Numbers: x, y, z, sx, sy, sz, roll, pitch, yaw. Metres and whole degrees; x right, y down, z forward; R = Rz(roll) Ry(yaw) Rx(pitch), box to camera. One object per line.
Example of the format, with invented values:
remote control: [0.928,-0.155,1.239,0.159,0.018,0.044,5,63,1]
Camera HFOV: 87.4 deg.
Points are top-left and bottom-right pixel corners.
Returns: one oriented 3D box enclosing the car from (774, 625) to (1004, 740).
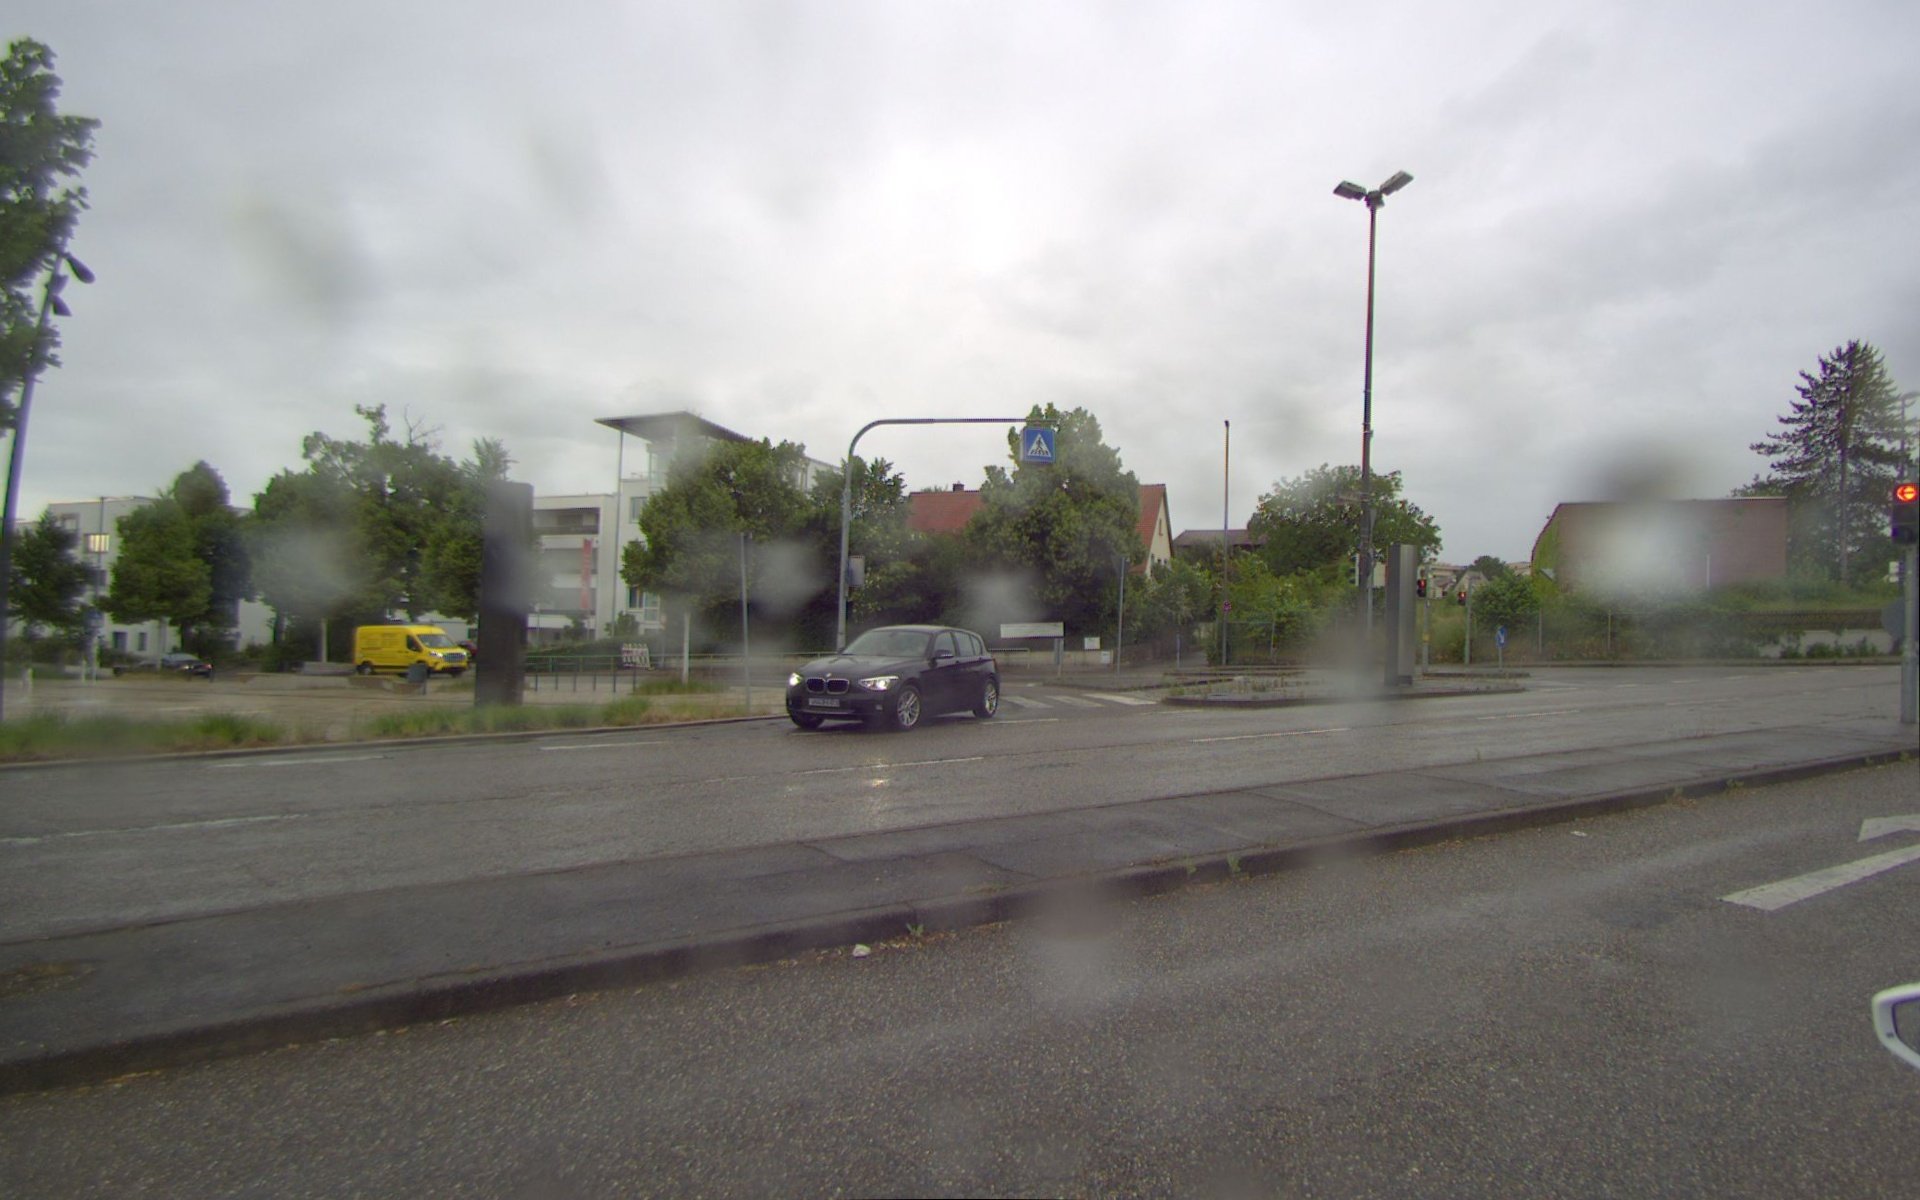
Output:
car: [-0.836,1.086,14.632,1.756,1.408,4.282,0,-2,20]

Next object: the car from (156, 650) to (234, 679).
car: [-42.057,3.542,55.234,3.929,1.559,1.997,-2,-3,29]

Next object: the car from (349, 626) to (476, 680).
car: [-25.833,2.504,47.389,5.802,2.441,2.000,-2,-3,22]
